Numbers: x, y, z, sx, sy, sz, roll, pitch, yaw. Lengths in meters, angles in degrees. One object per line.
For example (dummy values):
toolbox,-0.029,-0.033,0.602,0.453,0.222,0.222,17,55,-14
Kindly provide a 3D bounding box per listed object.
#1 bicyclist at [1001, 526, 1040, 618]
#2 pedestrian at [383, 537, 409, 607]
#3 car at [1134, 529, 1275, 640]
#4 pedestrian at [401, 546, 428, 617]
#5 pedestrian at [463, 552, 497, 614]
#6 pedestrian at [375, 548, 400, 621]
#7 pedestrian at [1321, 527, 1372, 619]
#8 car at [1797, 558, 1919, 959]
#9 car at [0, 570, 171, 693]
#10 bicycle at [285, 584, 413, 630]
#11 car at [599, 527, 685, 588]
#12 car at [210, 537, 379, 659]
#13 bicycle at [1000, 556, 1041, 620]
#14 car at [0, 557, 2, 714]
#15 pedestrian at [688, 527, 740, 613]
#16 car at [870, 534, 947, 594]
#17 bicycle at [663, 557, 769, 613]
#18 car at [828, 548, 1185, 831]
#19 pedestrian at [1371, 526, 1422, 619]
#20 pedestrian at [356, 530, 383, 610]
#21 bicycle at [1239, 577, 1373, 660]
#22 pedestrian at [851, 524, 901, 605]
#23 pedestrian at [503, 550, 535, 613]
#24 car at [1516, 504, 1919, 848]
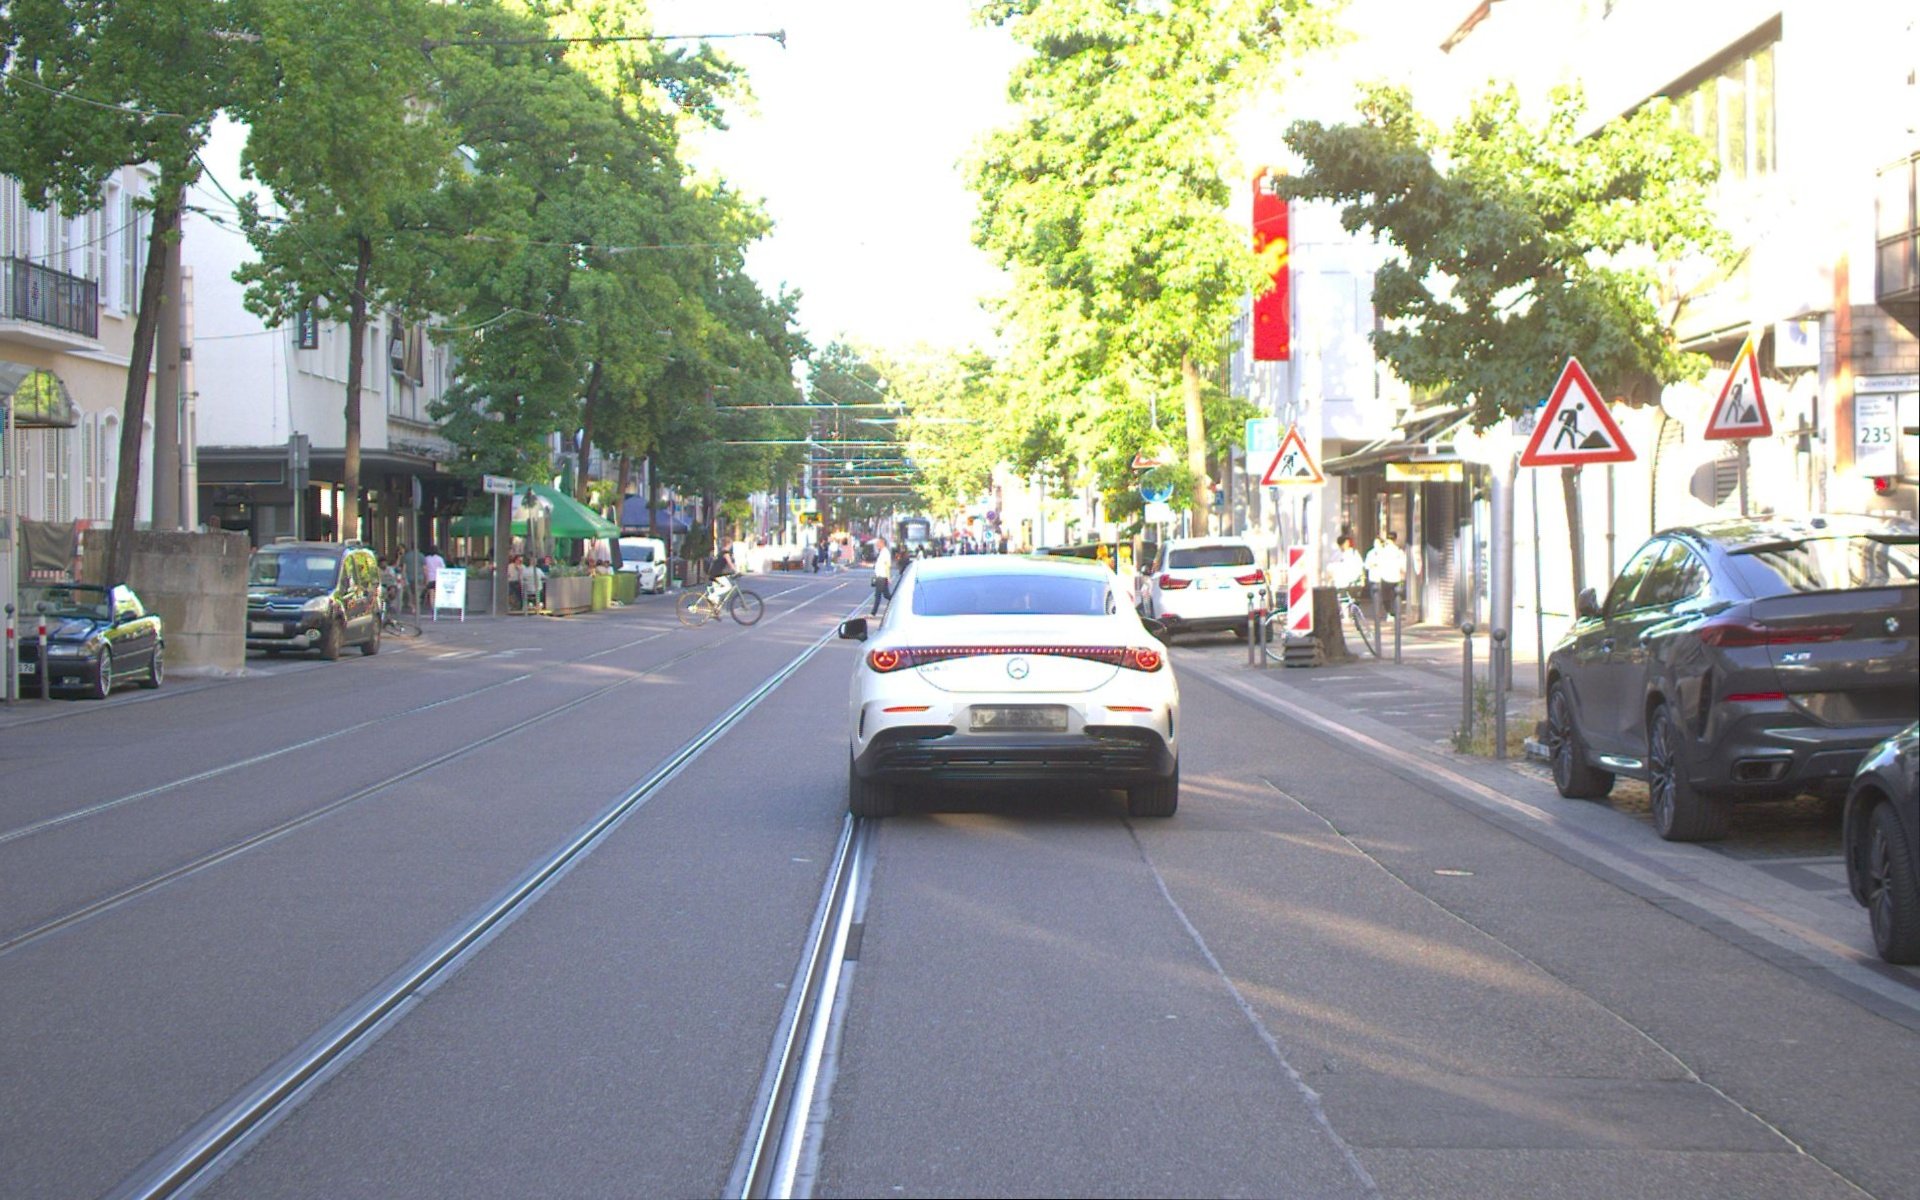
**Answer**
bicyclist,1.131,-0.528,64.284,0.724,1.697,0.811,0,0,0
pedestrian,-13.293,-0.667,81.070,0.517,1.647,0.650,0,1,-1
car,3.960,-0.281,56.277,1.993,1.722,4.241,-1,1,0
pedestrian,-12.538,-0.430,79.000,0.517,1.610,0.650,0,1,-1
pedestrian,-11.420,-0.409,81.858,0.569,1.459,0.649,0,1,19
pedestrian,-14.074,-0.386,84.501,0.517,1.775,0.609,0,1,-2
pedestrian,7.462,-0.528,66.453,0.799,1.768,0.683,0,1,-12
car,4.478,0.583,11.637,1.837,1.431,4.001,0,1,-8
car,-10.394,0.325,39.019,1.993,1.287,4.000,0,1,-1
bicycle,-11.095,0.122,62.452,2.255,0.827,0.716,0,1,22
car,-10.585,-1.425,114.765,1.994,2.007,3.999,0,1,8
car,-10.069,-0.056,52.186,1.553,1.789,3.166,0,1,8
bicycle,1.127,-0.234,64.481,0.740,1.184,2.160,-1,0,0
car,-10.010,0.357,30.702,1.688,1.494,4.234,0,1,1
pedestrian,-5.083,-0.628,71.111,0.919,1.768,0.874,0,1,-15
car,-2.779,-1.946,185.797,4.038,3.103,8.431,-1,0,-1
bicycle,-5.052,-0.324,71.126,2.047,1.132,0.874,0,1,-15
car,0.180,0.439,20.071,1.868,1.464,4.043,0,1,-2
pedestrian,8.425,-0.537,66.348,0.799,1.768,0.683,0,1,-12
pedestrian,-13.758,-0.697,80.092,0.517,1.849,0.650,0,1,-1
bicycle,4.533,0.241,45.129,1.723,1.058,0.581,0,1,3
pedestrian,-1.862,-0.785,75.742,0.919,1.768,0.874,0,1,-15
pedestrian,-10.706,-0.449,83.433,0.517,1.473,0.650,-3,0,-28
car,4.583,0.332,19.554,1.993,1.707,4.867,0,1,-1
